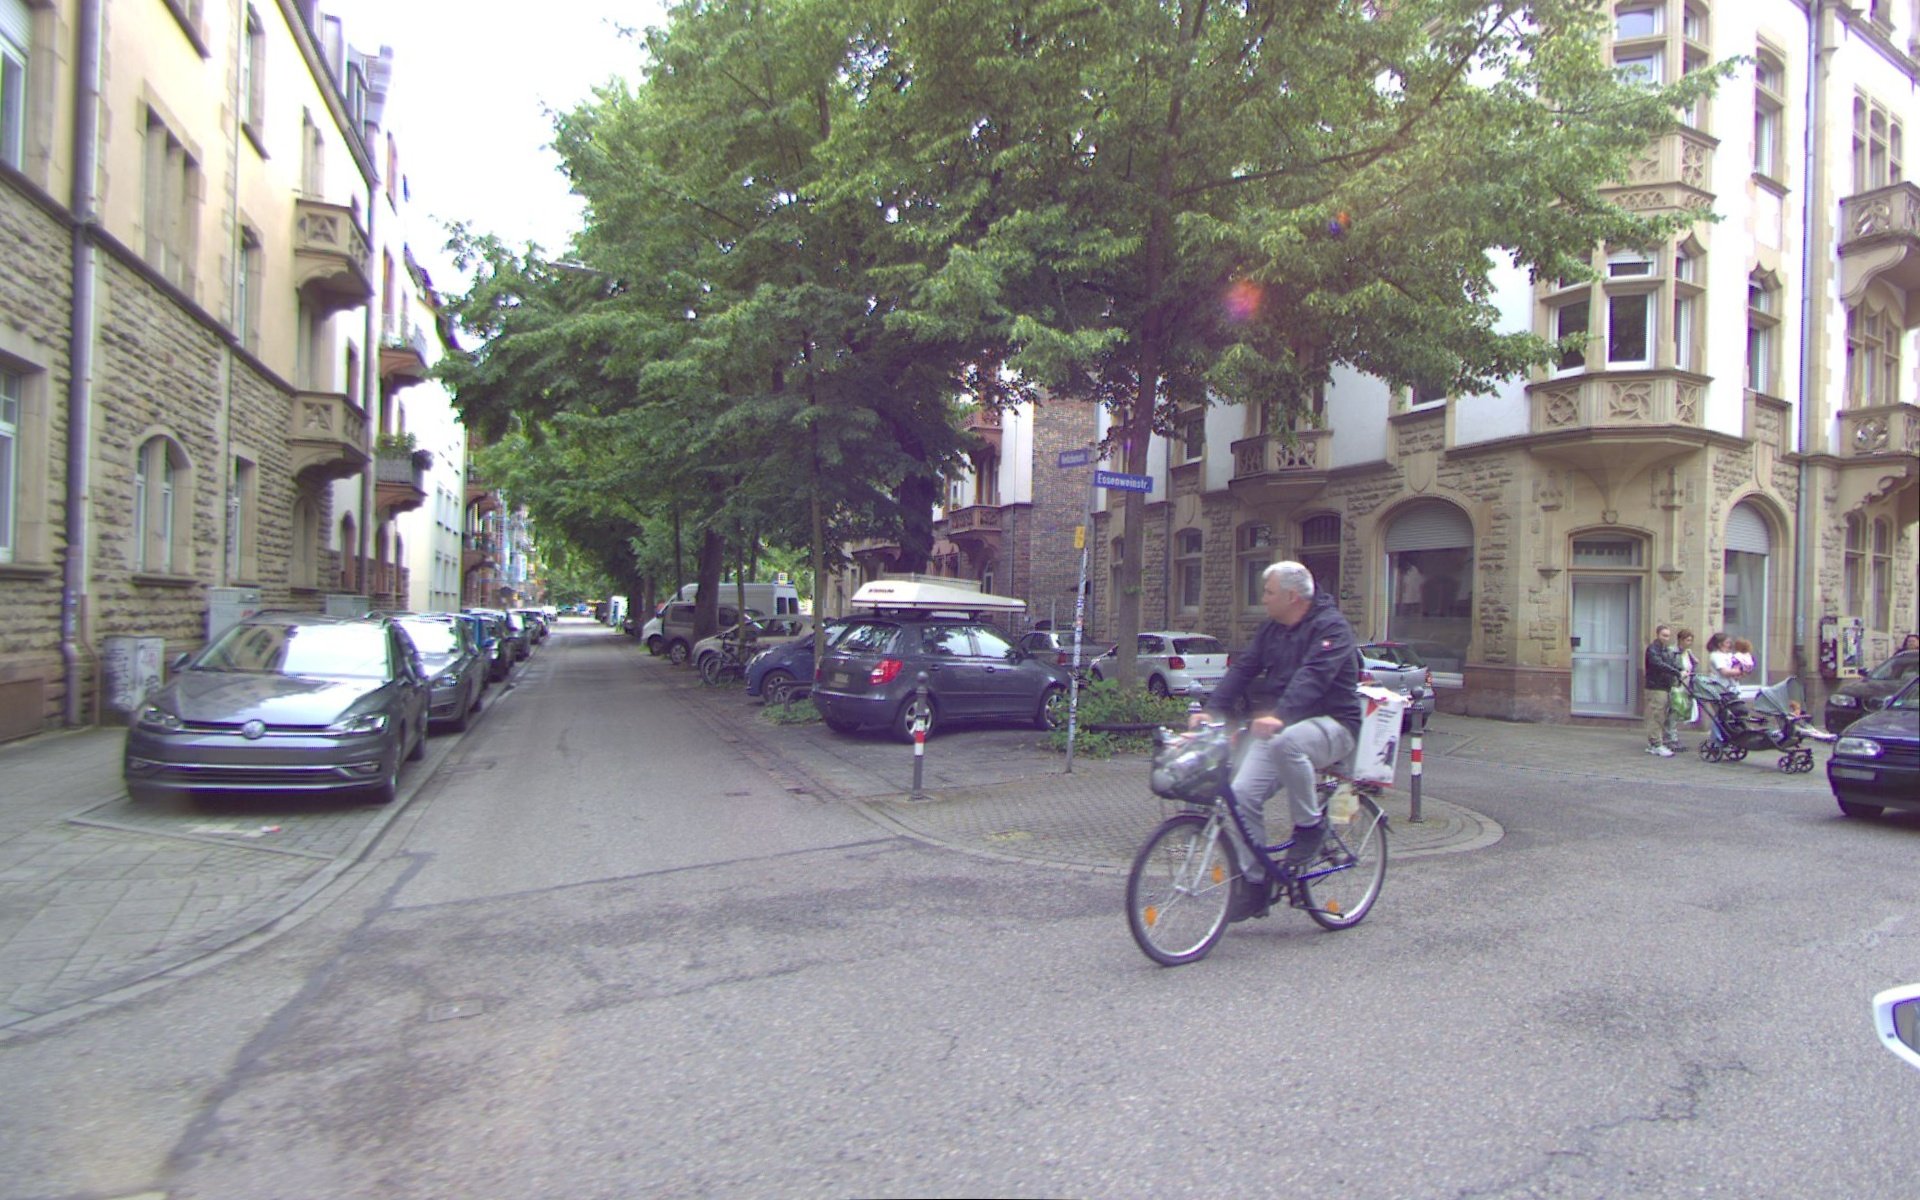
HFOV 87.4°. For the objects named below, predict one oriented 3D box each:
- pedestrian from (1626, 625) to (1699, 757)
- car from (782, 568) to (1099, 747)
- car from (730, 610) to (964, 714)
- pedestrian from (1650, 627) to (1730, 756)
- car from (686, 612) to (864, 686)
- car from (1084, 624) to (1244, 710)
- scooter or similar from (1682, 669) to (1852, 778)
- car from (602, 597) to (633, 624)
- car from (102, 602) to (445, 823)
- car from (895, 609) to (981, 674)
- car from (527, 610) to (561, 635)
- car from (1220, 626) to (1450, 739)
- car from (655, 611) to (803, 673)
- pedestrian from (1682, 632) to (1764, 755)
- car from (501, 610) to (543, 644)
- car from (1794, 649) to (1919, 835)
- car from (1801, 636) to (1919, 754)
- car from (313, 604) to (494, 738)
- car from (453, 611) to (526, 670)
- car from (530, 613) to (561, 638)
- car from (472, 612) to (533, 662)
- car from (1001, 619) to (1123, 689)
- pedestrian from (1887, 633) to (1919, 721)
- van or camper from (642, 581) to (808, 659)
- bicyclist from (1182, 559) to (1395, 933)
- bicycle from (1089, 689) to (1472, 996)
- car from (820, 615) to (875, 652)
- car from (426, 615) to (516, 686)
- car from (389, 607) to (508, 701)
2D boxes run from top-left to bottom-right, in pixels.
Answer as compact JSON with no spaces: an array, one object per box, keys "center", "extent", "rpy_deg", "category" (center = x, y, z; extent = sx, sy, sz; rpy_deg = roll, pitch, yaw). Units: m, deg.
[{"center":[9.220,1.181,13.189],"extent":[0.520,1.665,0.527],"rpy_deg":[2,1,-19],"category":"pedestrian"},{"center":[-0.161,0.675,13.212],"extent":[3.931,1.994,1.811],"rpy_deg":[1,-1,-41],"category":"car"},{"center":[-1.792,0.984,16.591],"extent":[3.540,1.536,1.655],"rpy_deg":[1,-1,5],"category":"car"},{"center":[9.791,1.209,13.485],"extent":[0.594,1.665,0.615],"rpy_deg":[1,0,-19],"category":"pedestrian"},{"center":[-4.194,1.068,22.891],"extent":[3.587,1.500,1.779],"rpy_deg":[1,0,20],"category":"car"},{"center":[4.182,1.346,21.111],"extent":[1.625,1.479,3.484],"rpy_deg":[3,0,-21],"category":"car"},{"center":[9.888,1.480,12.368],"extent":[0.665,1.119,1.467],"rpy_deg":[2,1,-18],"category":"scooter or similar"},{"center":[-26.637,0.793,78.076],"extent":[1.723,1.907,3.973],"rpy_deg":[3,0,-26],"category":"car"},{"center":[-5.816,0.838,9.094],"extent":[1.640,1.485,4.261],"rpy_deg":[6,-2,-23],"category":"car"},{"center":[-0.821,1.373,34.743],"extent":[1.883,2.035,3.515],"rpy_deg":[0,1,-21],"category":"car"},{"center":[-22.320,1.210,53.862],"extent":[1.587,1.264,3.371],"rpy_deg":[1,0,-23],"category":"car"},{"center":[6.037,1.256,16.598],"extent":[1.625,1.480,3.562],"rpy_deg":[-1,1,-21],"category":"car"},{"center":[-6.609,1.197,28.871],"extent":[3.683,1.537,1.759],"rpy_deg":[2,-2,14],"category":"car"},{"center":[10.470,1.264,13.805],"extent":[0.656,1.615,0.632],"rpy_deg":[1,0,11],"category":"pedestrian"},{"center":[-19.218,1.169,44.107],"extent":[1.587,1.424,3.371],"rpy_deg":[1,0,-23],"category":"car"},{"center":[9.235,1.223,8.806],"extent":[3.806,1.432,1.701],"rpy_deg":[3,-2,-29],"category":"car"},{"center":[14.397,1.397,14.851],"extent":[3.953,1.514,1.701],"rpy_deg":[3,0,-30],"category":"car"},{"center":[-7.466,0.870,13.855],"extent":[1.640,1.485,4.261],"rpy_deg":[6,-2,-23],"category":"car"},{"center":[-12.705,1.060,27.270],"extent":[1.557,1.367,3.371],"rpy_deg":[6,-2,-23],"category":"car"},{"center":[-23.851,1.440,57.713],"extent":[1.587,1.332,3.371],"rpy_deg":[1,0,-23],"category":"car"},{"center":[-14.437,1.136,31.816],"extent":[1.557,1.367,3.492],"rpy_deg":[6,-2,-23],"category":"car"},{"center":[2.490,1.310,25.367],"extent":[1.625,1.479,3.484],"rpy_deg":[3,0,-21],"category":"car"},{"center":[17.107,1.380,18.064],"extent":[0.540,1.538,0.513],"rpy_deg":[2,-1,-30],"category":"pedestrian"},{"center":[-8.016,0.651,34.308],"extent":[5.195,2.494,2.074],"rpy_deg":[1,-1,21],"category":"van or camper"},{"center":[1.509,0.622,4.649],"extent":[0.668,1.559,0.645],"rpy_deg":[2,-1,-28],"category":"bicyclist"},{"center":[1.507,1.010,4.633],"extent":[1.777,1.108,0.631],"rpy_deg":[1,0,-29],"category":"bicycle"},{"center":[-5.148,1.498,45.593],"extent":[1.694,1.529,3.541],"rpy_deg":[2,-1,-20],"category":"car"},{"center":[-10.971,1.097,22.704],"extent":[1.557,1.367,3.371],"rpy_deg":[6,-2,-23],"category":"car"},{"center":[-9.470,0.956,18.832],"extent":[1.640,1.485,3.371],"rpy_deg":[6,-2,-23],"category":"car"}]
